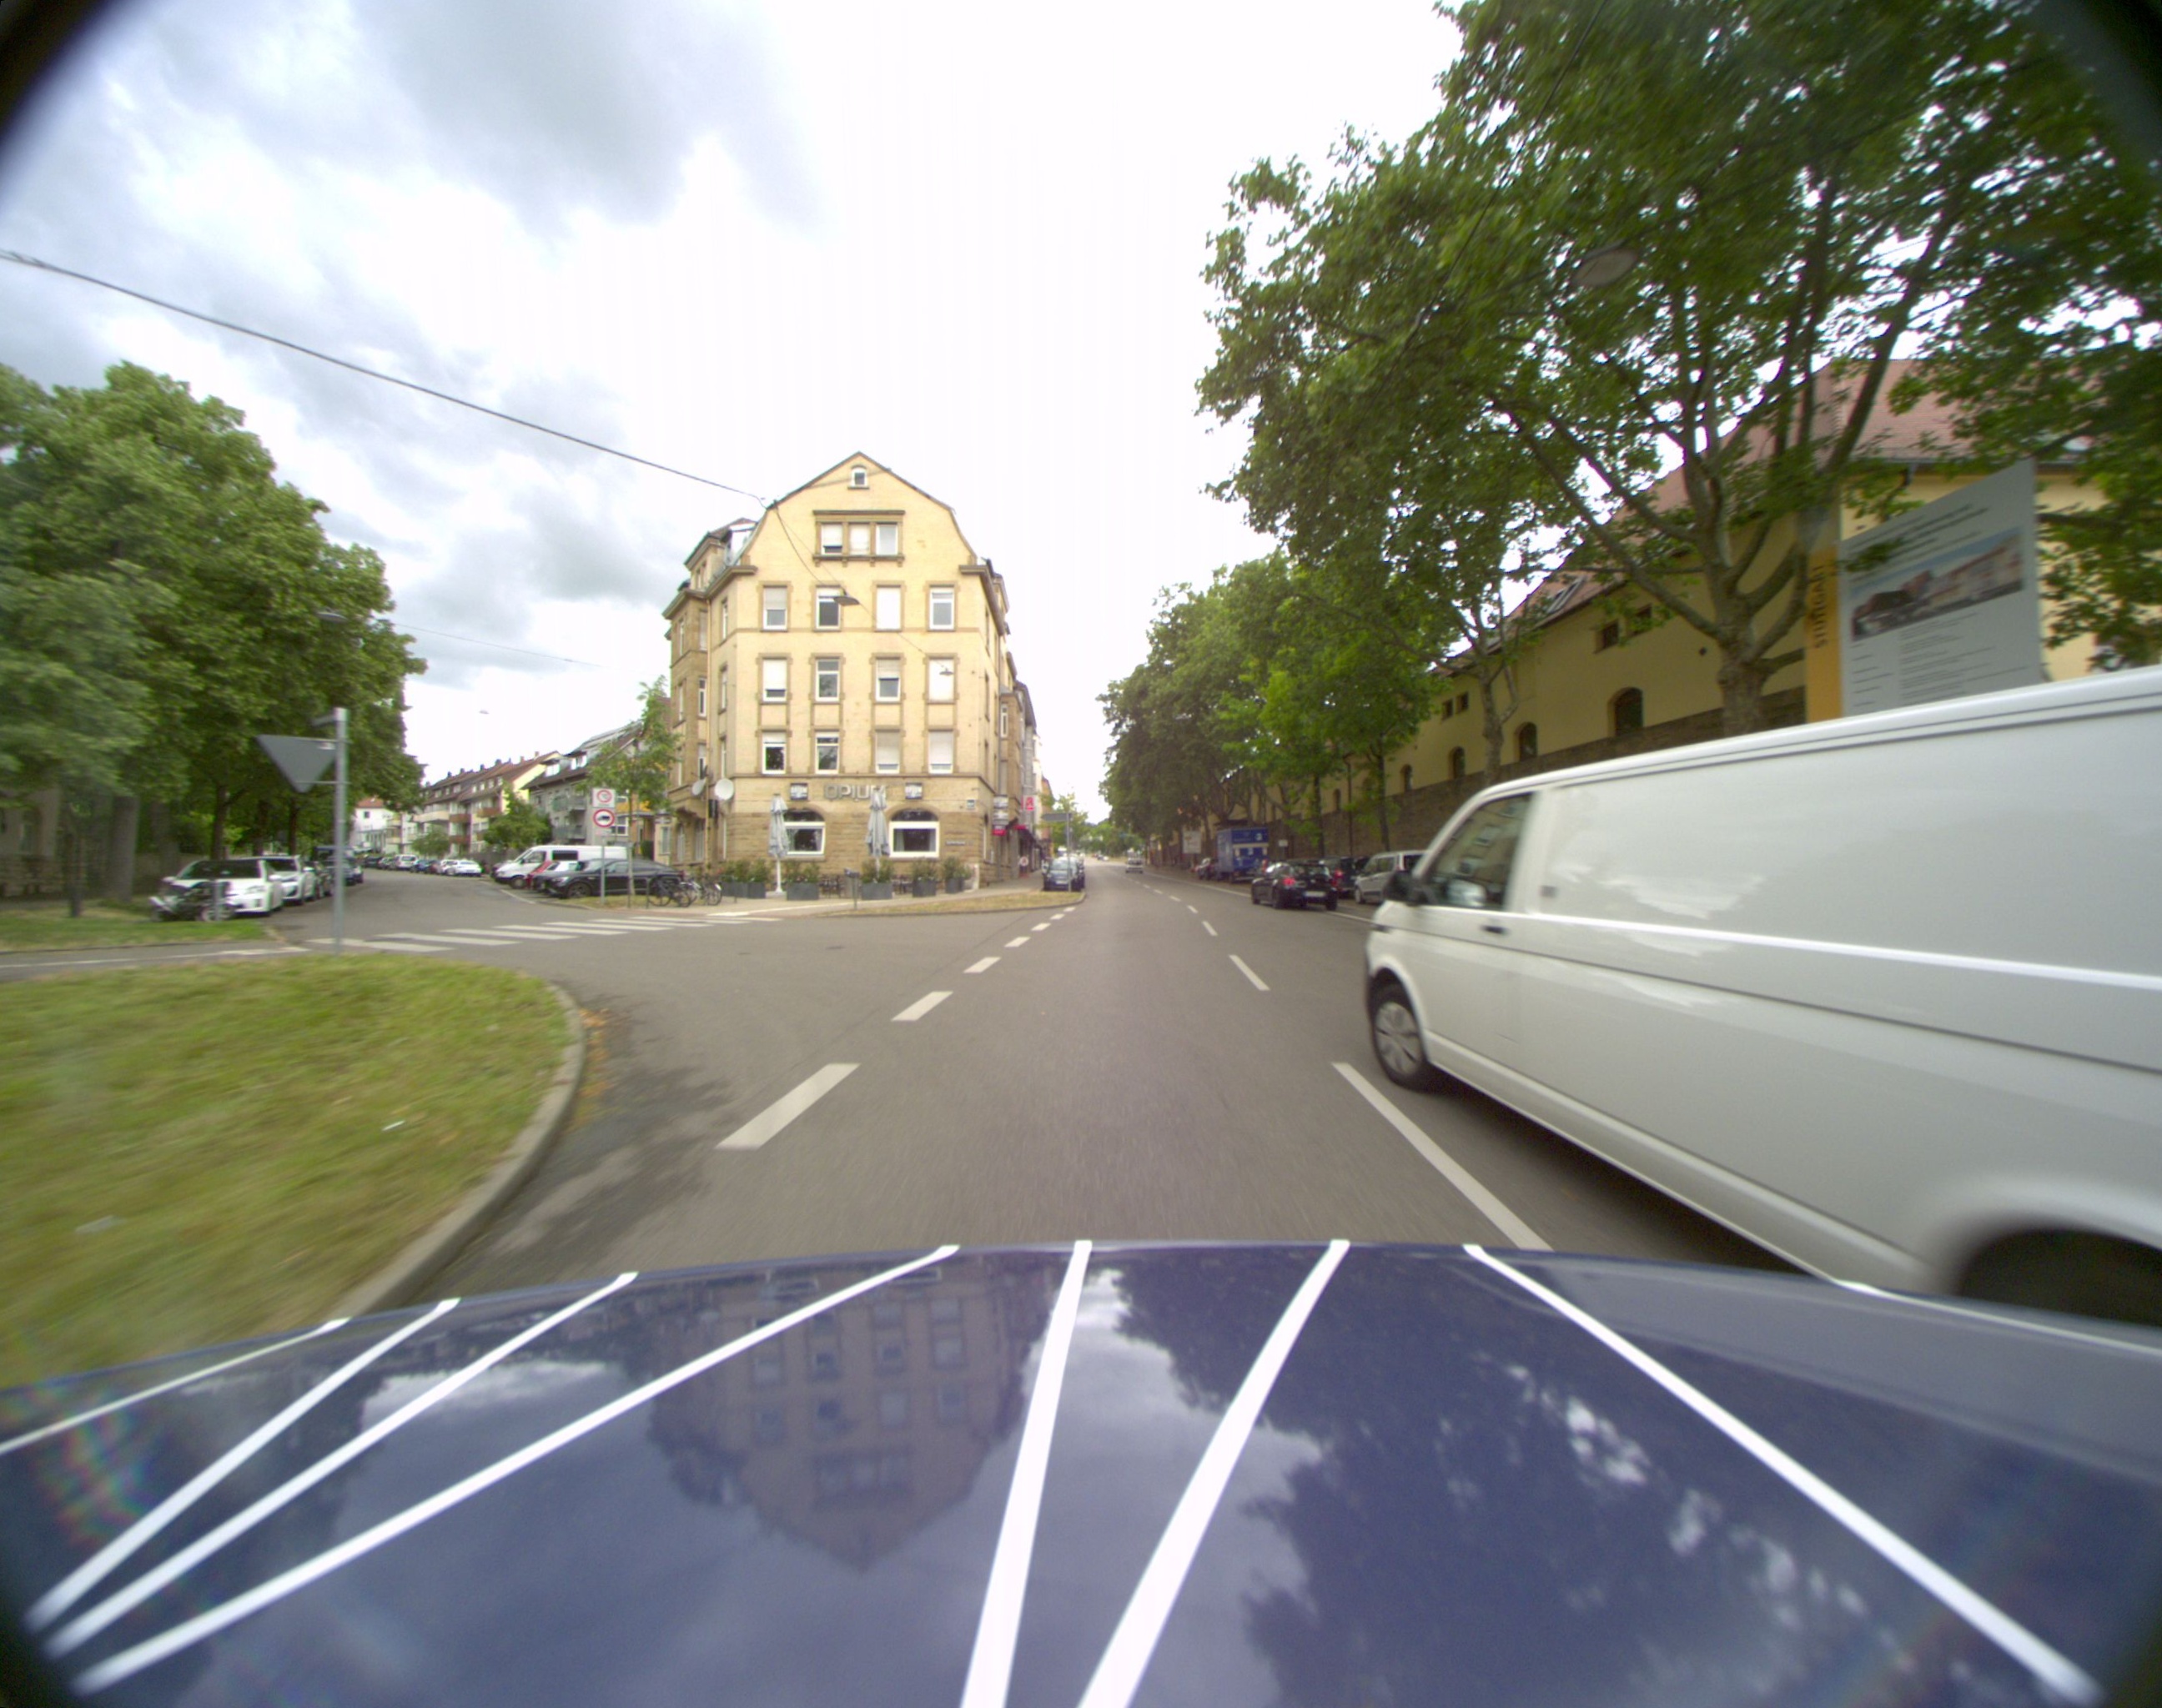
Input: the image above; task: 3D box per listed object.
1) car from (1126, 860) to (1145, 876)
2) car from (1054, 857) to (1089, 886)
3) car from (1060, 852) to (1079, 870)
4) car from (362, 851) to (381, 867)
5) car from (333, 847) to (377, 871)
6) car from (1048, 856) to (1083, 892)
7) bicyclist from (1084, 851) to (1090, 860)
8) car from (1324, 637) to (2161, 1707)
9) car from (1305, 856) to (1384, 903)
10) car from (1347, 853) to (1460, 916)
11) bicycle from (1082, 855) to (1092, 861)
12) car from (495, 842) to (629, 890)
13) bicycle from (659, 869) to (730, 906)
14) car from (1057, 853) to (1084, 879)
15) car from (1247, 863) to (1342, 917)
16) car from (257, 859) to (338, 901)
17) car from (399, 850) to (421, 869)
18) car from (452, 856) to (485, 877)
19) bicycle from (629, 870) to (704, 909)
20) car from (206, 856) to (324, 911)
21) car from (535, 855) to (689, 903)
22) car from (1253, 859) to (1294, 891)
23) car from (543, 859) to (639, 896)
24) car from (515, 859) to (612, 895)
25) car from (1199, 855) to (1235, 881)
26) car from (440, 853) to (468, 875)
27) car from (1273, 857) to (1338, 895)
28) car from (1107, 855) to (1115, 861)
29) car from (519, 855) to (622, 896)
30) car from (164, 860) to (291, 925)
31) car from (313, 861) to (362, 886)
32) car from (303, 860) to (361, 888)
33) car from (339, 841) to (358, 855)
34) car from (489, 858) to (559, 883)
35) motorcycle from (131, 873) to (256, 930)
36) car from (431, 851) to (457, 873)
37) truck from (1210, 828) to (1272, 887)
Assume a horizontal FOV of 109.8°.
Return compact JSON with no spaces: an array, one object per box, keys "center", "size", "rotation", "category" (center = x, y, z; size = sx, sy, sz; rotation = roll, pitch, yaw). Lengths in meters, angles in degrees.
[{"center":[5.334,1.359,75.303],"size":[1.587,1.455,3.651],"rotation":[2,0,0],"category":"car"},{"center":[-0.580,0.913,41.761],"size":[1.743,1.454,4.774],"rotation":[1,0,-2],"category":"car"},{"center":[-1.277,0.741,84.281],"size":[1.912,1.919,4.918],"rotation":[1,0,-3],"category":"car"},{"center":[-88.960,0.641,95.268],"size":[3.467,1.828,1.511],"rotation":[-2,1,44],"category":"car"},{"center":[-49.900,0.343,52.272],"size":[2.004,1.587,4.360],"rotation":[0,1,-41],"category":"car"},{"center":[-0.704,0.881,35.717],"size":[1.569,1.601,3.654],"rotation":[0,0,0],"category":"car"},{"center":[1.099,0.247,130.169],"size":[0.748,1.619,0.683],"rotation":[0,1,36],"category":"bicyclist"},{"center":[2.881,0.593,2.916],"size":[2.210,1.920,5.239],"rotation":[-1,0,0],"category":"car"},{"center":[10.432,0.952,30.416],"size":[1.512,1.622,4.114],"rotation":[-2,1,-3],"category":"car"},{"center":[10.396,0.914,24.867],"size":[1.838,1.865,4.416],"rotation":[0,0,0],"category":"car"},{"center":[0.999,0.713,130.205],"size":[1.716,0.986,0.369],"rotation":[1,1,37],"category":"bicycle"},{"center":[-26.596,0.558,39.043],"size":[5.509,2.279,1.994],"rotation":[0,1,-40],"category":"car"},{"center":[-12.005,1.022,23.588],"size":[2.182,1.060,0.602],"rotation":[1,1,18],"category":"bicycle"},{"center":[-0.792,0.797,52.794],"size":[1.683,1.653,4.542],"rotation":[1,0,-3],"category":"car"},{"center":[6.422,1.031,23.323],"size":[1.704,1.417,4.249],"rotation":[-1,0,0],"category":"car"},{"center":[-29.843,0.938,29.046],"size":[1.801,1.428,4.360],"rotation":[0,1,-41],"category":"car"},{"center":[-73.895,0.645,83.645],"size":[1.720,2.002,3.989],"rotation":[-3,1,-42],"category":"car"},{"center":[-53.430,1.078,66.250],"size":[2.004,1.736,3.989],"rotation":[-3,1,-42],"category":"car"},{"center":[-12.350,1.043,22.631],"size":[2.182,1.060,0.602],"rotation":[1,1,18],"category":"bicycle"},{"center":[-26.239,0.878,24.589],"size":[2.004,1.587,4.360],"rotation":[-1,0,-39],"category":"car"},{"center":[-16.941,0.834,27.602],"size":[1.994,1.587,4.382],"rotation":[0,1,43],"category":"car"},{"center":[10.367,1.118,41.097],"size":[1.484,1.564,2.991],"rotation":[-2,1,1],"category":"car"},{"center":[-21.576,1.019,33.519],"size":[1.469,1.393,3.184],"rotation":[-2,1,40],"category":"car"},{"center":[-23.478,1.032,34.548],"size":[1.544,1.429,3.301],"rotation":[-2,1,42],"category":"car"},{"center":[9.822,0.988,55.266],"size":[1.736,1.679,4.251],"rotation":[-2,1,-1],"category":"car"},{"center":[-57.030,0.959,69.043],"size":[1.734,1.802,3.863],"rotation":[-3,0,-42],"category":"car"},{"center":[10.457,0.974,35.713],"size":[1.598,1.564,4.085],"rotation":[-2,1,-3],"category":"car"},{"center":[8.911,1.204,223.870],"size":[1.919,1.640,3.634],"rotation":[-2,1,7],"category":"car"},{"center":[-20.703,0.840,30.898],"size":[1.544,1.527,3.166],"rotation":[-1,0,42],"category":"car"},{"center":[-22.480,0.930,20.175],"size":[1.816,1.490,4.266],"rotation":[0,0,-42],"category":"car"},{"center":[-43.990,1.134,45.023],"size":[2.004,1.391,4.117],"rotation":[-1,0,-44],"category":"car"},{"center":[-40.300,1.031,40.978],"size":[2.004,1.347,4.230],"rotation":[0,0,-41],"category":"car"},{"center":[-114.100,-0.937,118.368],"size":[3.989,2.002,1.820],"rotation":[-2,1,44],"category":"car"},{"center":[-35.465,1.019,48.425],"size":[1.544,1.429,3.301],"rotation":[-2,1,42],"category":"car"},{"center":[-20.206,1.070,17.321],"size":[1.998,1.163,0.560],"rotation":[-2,1,-3],"category":"motorcycle"},{"center":[-61.348,0.816,73.124],"size":[1.700,2.002,3.728],"rotation":[-3,1,-42],"category":"car"},{"center":[10.117,0.218,48.673],"size":[2.221,3.396,7.246],"rotation":[-2,0,-1],"category":"truck"}]
